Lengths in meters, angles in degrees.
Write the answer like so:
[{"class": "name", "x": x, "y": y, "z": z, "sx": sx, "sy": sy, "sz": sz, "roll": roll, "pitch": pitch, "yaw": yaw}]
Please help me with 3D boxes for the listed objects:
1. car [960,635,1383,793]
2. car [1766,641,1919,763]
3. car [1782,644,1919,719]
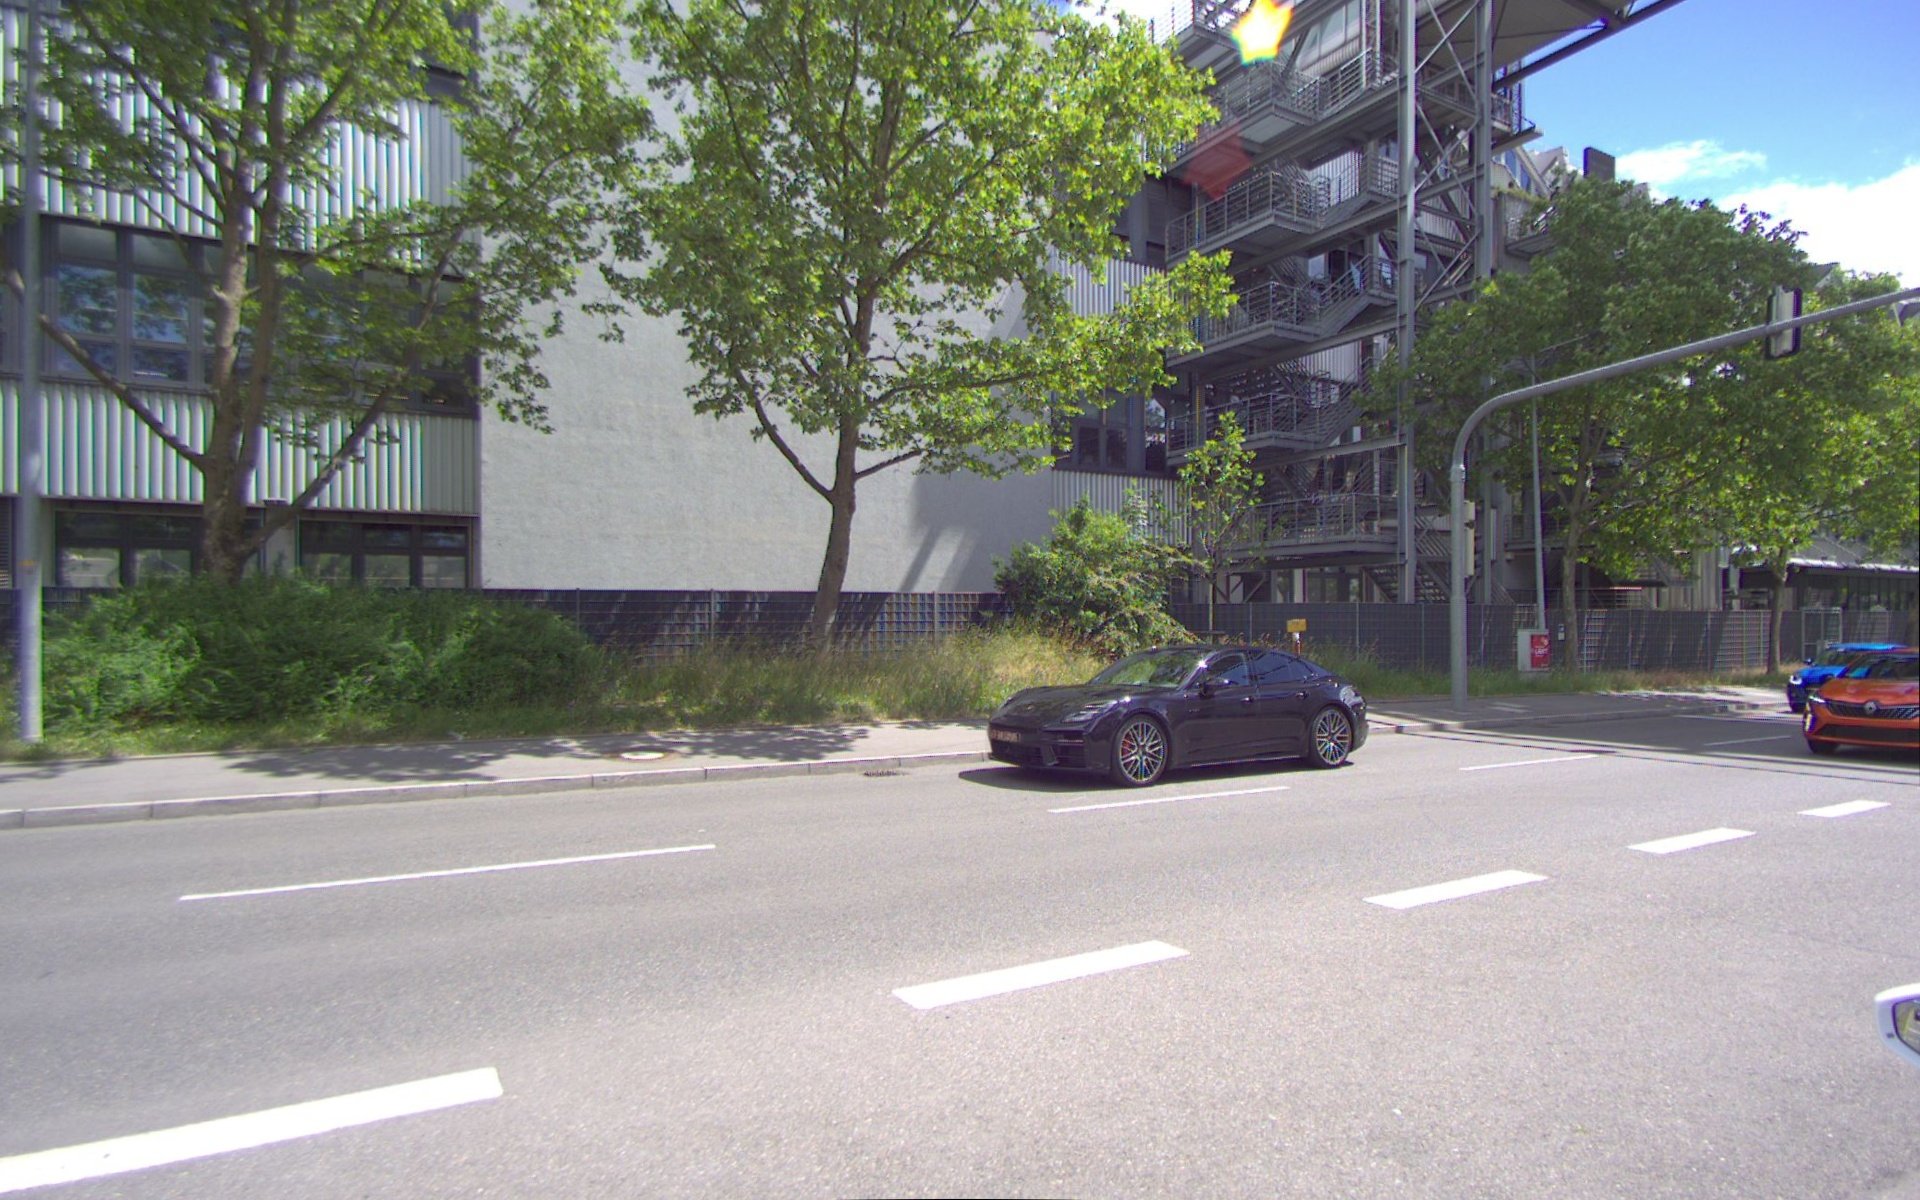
[{"class": "car", "x": 2.511, "y": 1.176, "z": 11.529, "sx": 4.716, "sy": 1.473, "sz": 1.983, "roll": 2, "pitch": -3, "yaw": -32}, {"class": "car", "x": 12.917, "y": 1.315, "z": 13.639, "sx": 3.859, "sy": 1.473, "sz": 1.875, "roll": 2, "pitch": -3, "yaw": -32}, {"class": "car", "x": 19.610, "y": 1.707, "z": 21.740, "sx": 3.779, "sy": 1.448, "sz": 1.684, "roll": 1, "pitch": -2, "yaw": -32}]
